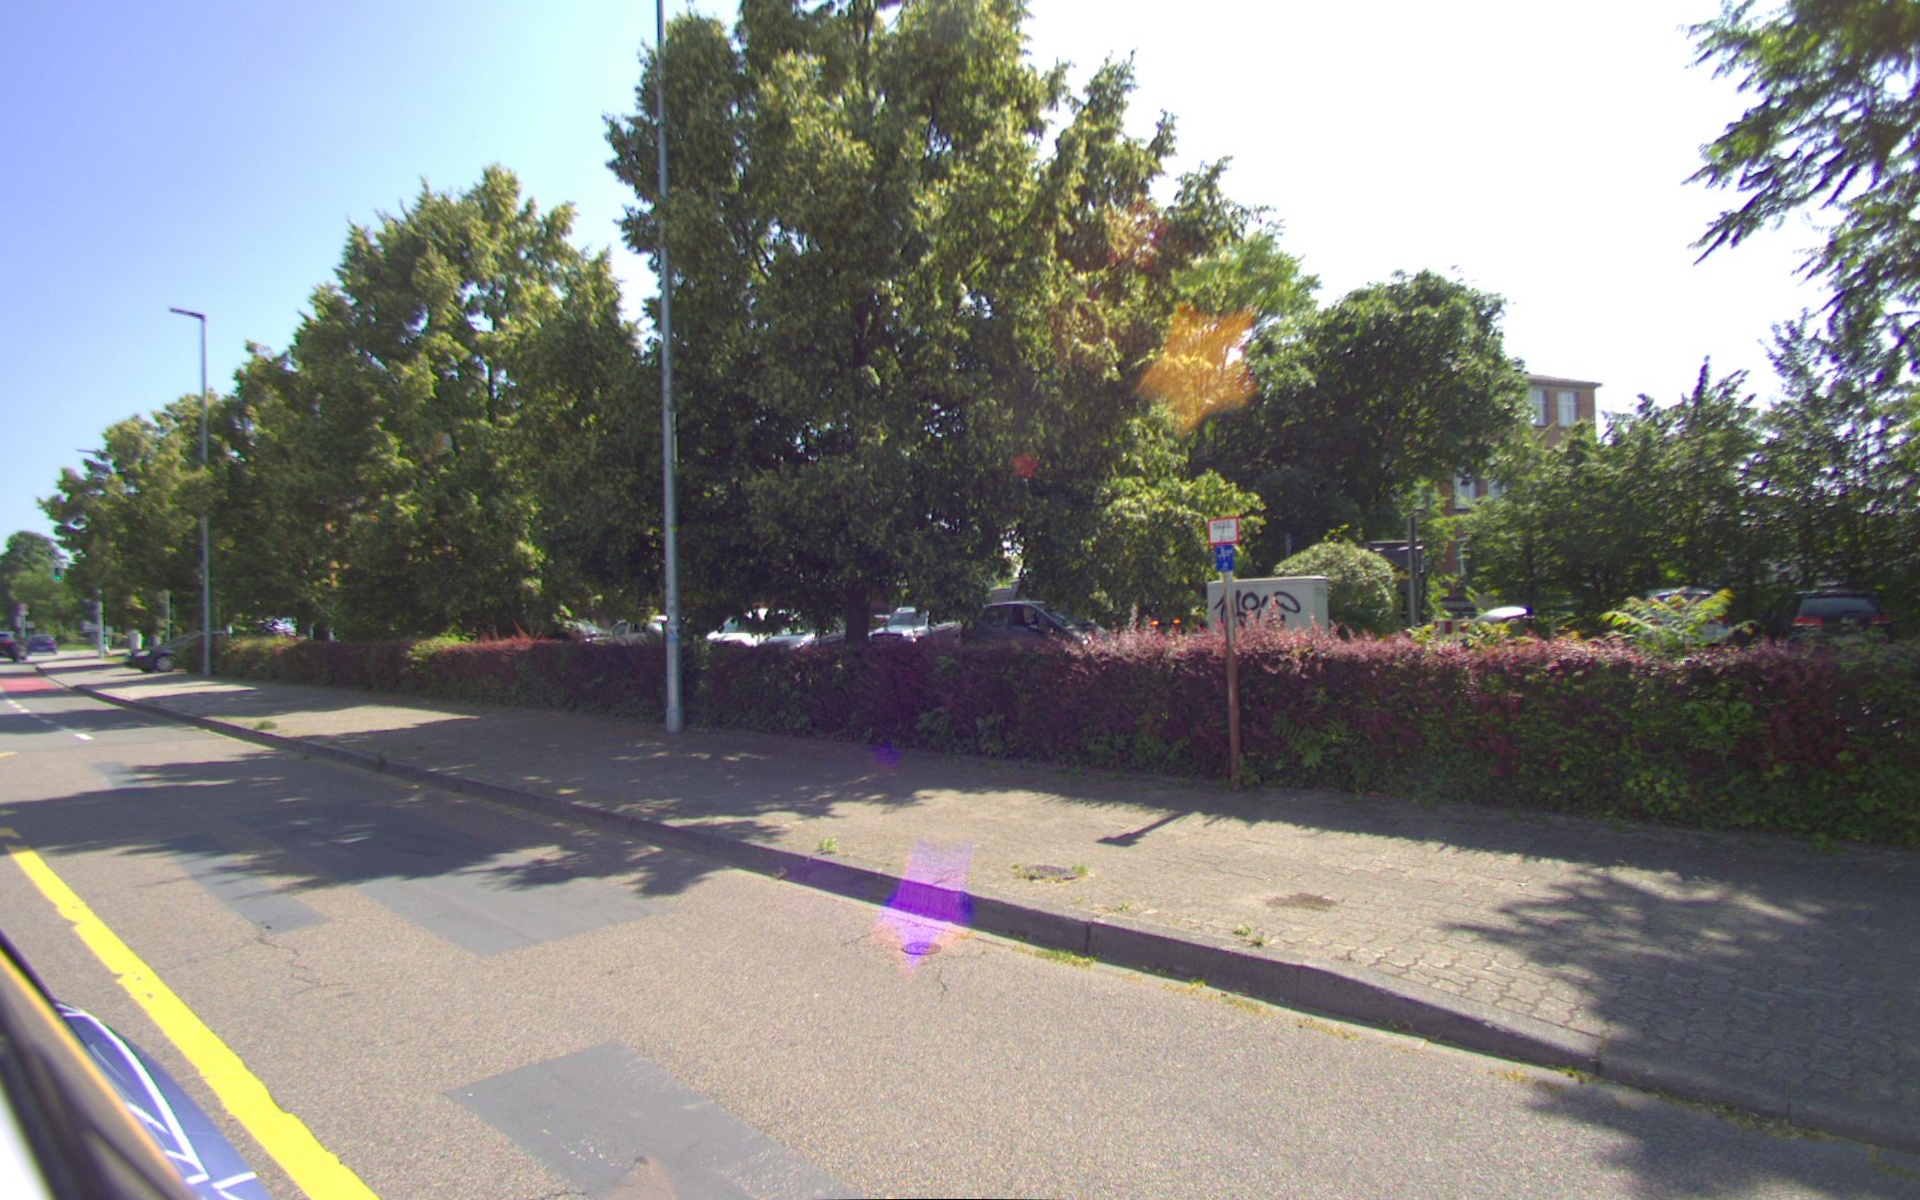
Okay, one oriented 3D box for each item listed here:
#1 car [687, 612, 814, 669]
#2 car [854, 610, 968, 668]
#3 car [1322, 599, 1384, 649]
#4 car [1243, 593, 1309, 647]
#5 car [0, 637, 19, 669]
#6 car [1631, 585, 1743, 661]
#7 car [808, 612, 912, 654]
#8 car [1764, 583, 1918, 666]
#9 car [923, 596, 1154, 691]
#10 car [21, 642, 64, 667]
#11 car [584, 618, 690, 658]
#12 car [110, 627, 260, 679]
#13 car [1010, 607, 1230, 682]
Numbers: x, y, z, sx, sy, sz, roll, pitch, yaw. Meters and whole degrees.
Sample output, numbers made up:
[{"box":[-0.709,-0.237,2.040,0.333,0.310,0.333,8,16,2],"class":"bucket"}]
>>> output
[{"box":[-6.695,1.273,32.782,1.852,1.698,4.276,-2,-1,25],"class":"car"},{"box":[-1.480,1.188,32.267,1.851,1.698,4.331,-2,-1,24],"class":"car"},{"box":[13.290,0.771,34.117,1.763,1.487,3.969,-3,-1,23],"class":"car"},{"box":[11.686,0.710,37.288,1.764,1.747,3.967,-5,-1,24],"class":"car"},{"box":[-52.658,2.878,55.026,1.969,1.657,4.534,1,-2,-41],"class":"car"},{"box":[17.136,0.500,24.021,1.768,1.584,3.958,-3,-1,31],"class":"car"},{"box":[-4.513,1.498,45.710,4.347,1.698,1.845,-2,1,28],"class":"car"},{"box":[18.326,0.458,21.233,1.769,1.481,3.956,-3,0,32],"class":"car"},{"box":[1.488,0.862,20.253,4.363,1.699,1.837,-2,-3,40],"class":"car"},{"box":[-63.626,3.753,70.160,4.529,1.657,1.971,-2,-2,44],"class":"car"},{"box":[-13.602,1.590,42.617,4.120,1.564,1.904,-2,-1,26],"class":"car"},{"box":[-27.066,1.795,35.414,3.941,1.475,1.882,-4,1,-44],"class":"car"},{"box":[3.353,0.949,21.748,4.363,1.464,1.837,-2,-3,40],"class":"car"}]
